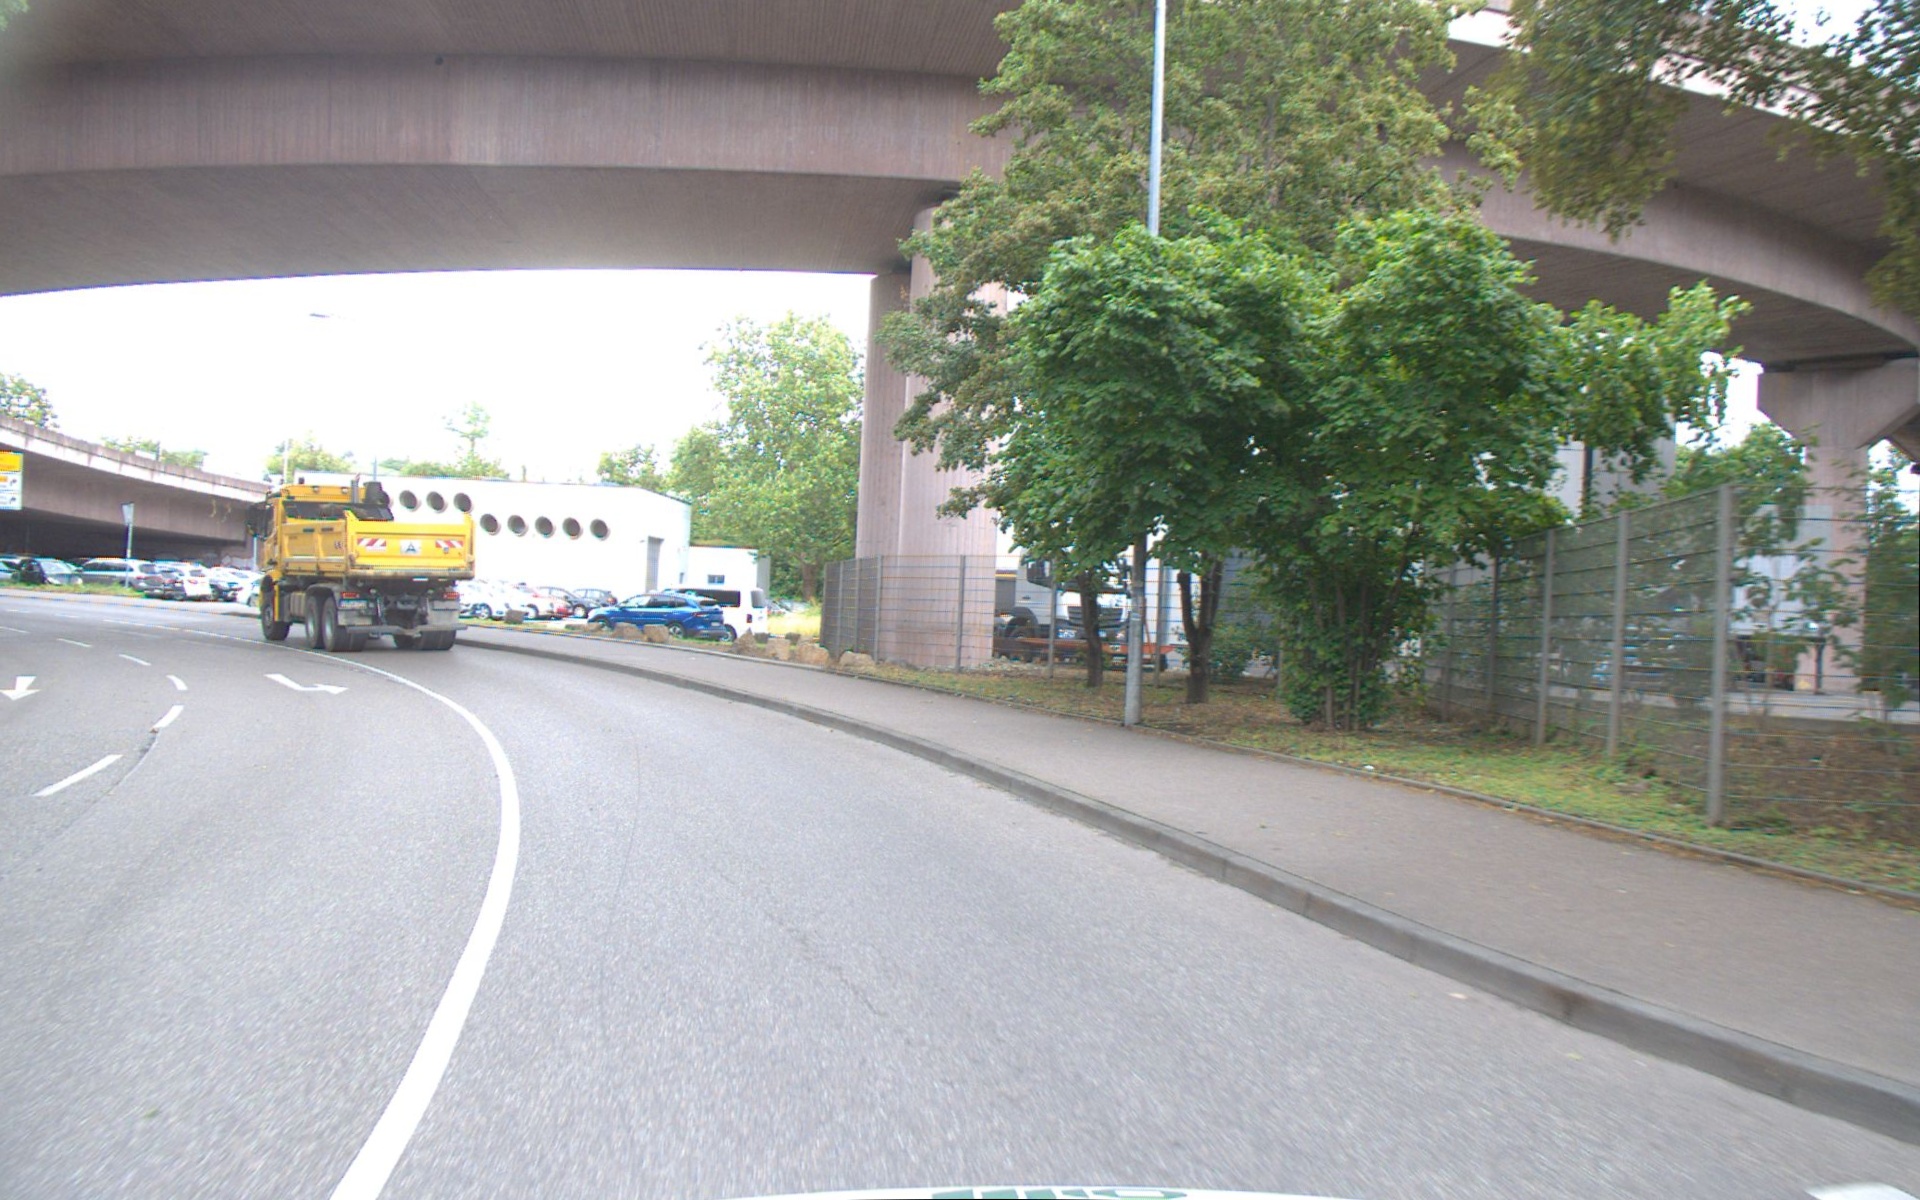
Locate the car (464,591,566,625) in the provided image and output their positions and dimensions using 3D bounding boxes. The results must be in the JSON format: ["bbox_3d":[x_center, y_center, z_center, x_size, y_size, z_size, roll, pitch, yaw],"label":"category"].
[{"bbox_3d":[-19.841,0.363,73.792,3.903,1.431,2.001,1,-2,5],"label":"car"}]

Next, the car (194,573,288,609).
[{"bbox_3d":[-35.495,-0.427,81.695,3.788,1.662,1.777,1,-2,5],"label":"car"}]

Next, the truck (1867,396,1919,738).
[{"bbox_3d":[12.522,-0.362,17.314,3.000,4.032,6.929,1,0,8],"label":"truck"}]

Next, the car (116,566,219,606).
[{"bbox_3d":[-35.811,-0.626,74.768,3.788,1.662,1.777,1,-2,5],"label":"car"}]

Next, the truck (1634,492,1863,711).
[{"bbox_3d":[19.282,-0.001,41.056,3.134,4.864,8.055,1,0,11],"label":"truck"}]

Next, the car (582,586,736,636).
[{"bbox_3d":[-9.437,0.350,51.943,4.353,1.467,1.999,0,-2,22],"label":"car"}]

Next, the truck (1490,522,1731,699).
[{"bbox_3d":[15.056,0.176,39.023,2.991,3.682,7.920,1,1,4],"label":"truck"}]

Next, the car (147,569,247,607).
[{"bbox_3d":[-35.457,-0.560,76.915,3.788,1.662,1.777,1,-2,5],"label":"car"}]

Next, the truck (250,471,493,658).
[{"bbox_3d":[-12.815,-0.735,35.498,2.902,3.542,8.144,-1,1,-35],"label":"truck"}]

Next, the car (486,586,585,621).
[{"bbox_3d":[-19.535,0.171,76.199,3.903,1.467,2.001,1,-2,5],"label":"car"}]

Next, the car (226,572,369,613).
[{"bbox_3d":[-25.702,-0.286,64.260,4.719,1.467,2.001,1,-2,5],"label":"car"}]

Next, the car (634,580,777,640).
[{"bbox_3d":[-8.422,0.338,54.875,4.223,1.890,2.001,1,-2,15],"label":"car"}]

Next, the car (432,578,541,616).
[{"bbox_3d":[-19.835,-0.111,69.342,3.903,1.467,2.001,1,-2,5],"label":"car"}]

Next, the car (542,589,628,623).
[{"bbox_3d":[-19.511,0.307,86.125,3.902,1.573,1.857,2,1,6],"label":"car"}]

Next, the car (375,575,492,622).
[{"bbox_3d":[-20.251,-0.048,63.736,3.903,1.669,1.690,1,-2,4],"label":"car"}]

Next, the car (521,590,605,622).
[{"bbox_3d":[-19.412,0.308,81.007,3.622,1.467,1.635,1,-2,5],"label":"car"}]

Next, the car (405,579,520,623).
[{"bbox_3d":[-19.968,0.051,66.480,3.903,1.669,2.001,1,-2,3],"label":"car"}]

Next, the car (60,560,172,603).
[{"bbox_3d":[-35.506,-0.764,69.622,3.788,1.662,1.777,1,-2,4],"label":"car"}]

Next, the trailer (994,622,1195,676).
[{"bbox_3d":[2.426,0.895,31.913,2.112,0.756,6.274,-1,1,-13],"label":"trailer"}]

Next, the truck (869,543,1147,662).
[{"bbox_3d":[1.007,0.062,39.955,2.698,2.596,7.128,2,-1,-39],"label":"truck"}]

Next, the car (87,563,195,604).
[{"bbox_3d":[-35.753,-0.696,72.242,3.788,1.662,1.777,1,-2,5],"label":"car"}]

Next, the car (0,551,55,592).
[{"bbox_3d":[-40.934,-1.217,70.424,3.788,1.662,1.777,1,-2,5],"label":"car"}]
